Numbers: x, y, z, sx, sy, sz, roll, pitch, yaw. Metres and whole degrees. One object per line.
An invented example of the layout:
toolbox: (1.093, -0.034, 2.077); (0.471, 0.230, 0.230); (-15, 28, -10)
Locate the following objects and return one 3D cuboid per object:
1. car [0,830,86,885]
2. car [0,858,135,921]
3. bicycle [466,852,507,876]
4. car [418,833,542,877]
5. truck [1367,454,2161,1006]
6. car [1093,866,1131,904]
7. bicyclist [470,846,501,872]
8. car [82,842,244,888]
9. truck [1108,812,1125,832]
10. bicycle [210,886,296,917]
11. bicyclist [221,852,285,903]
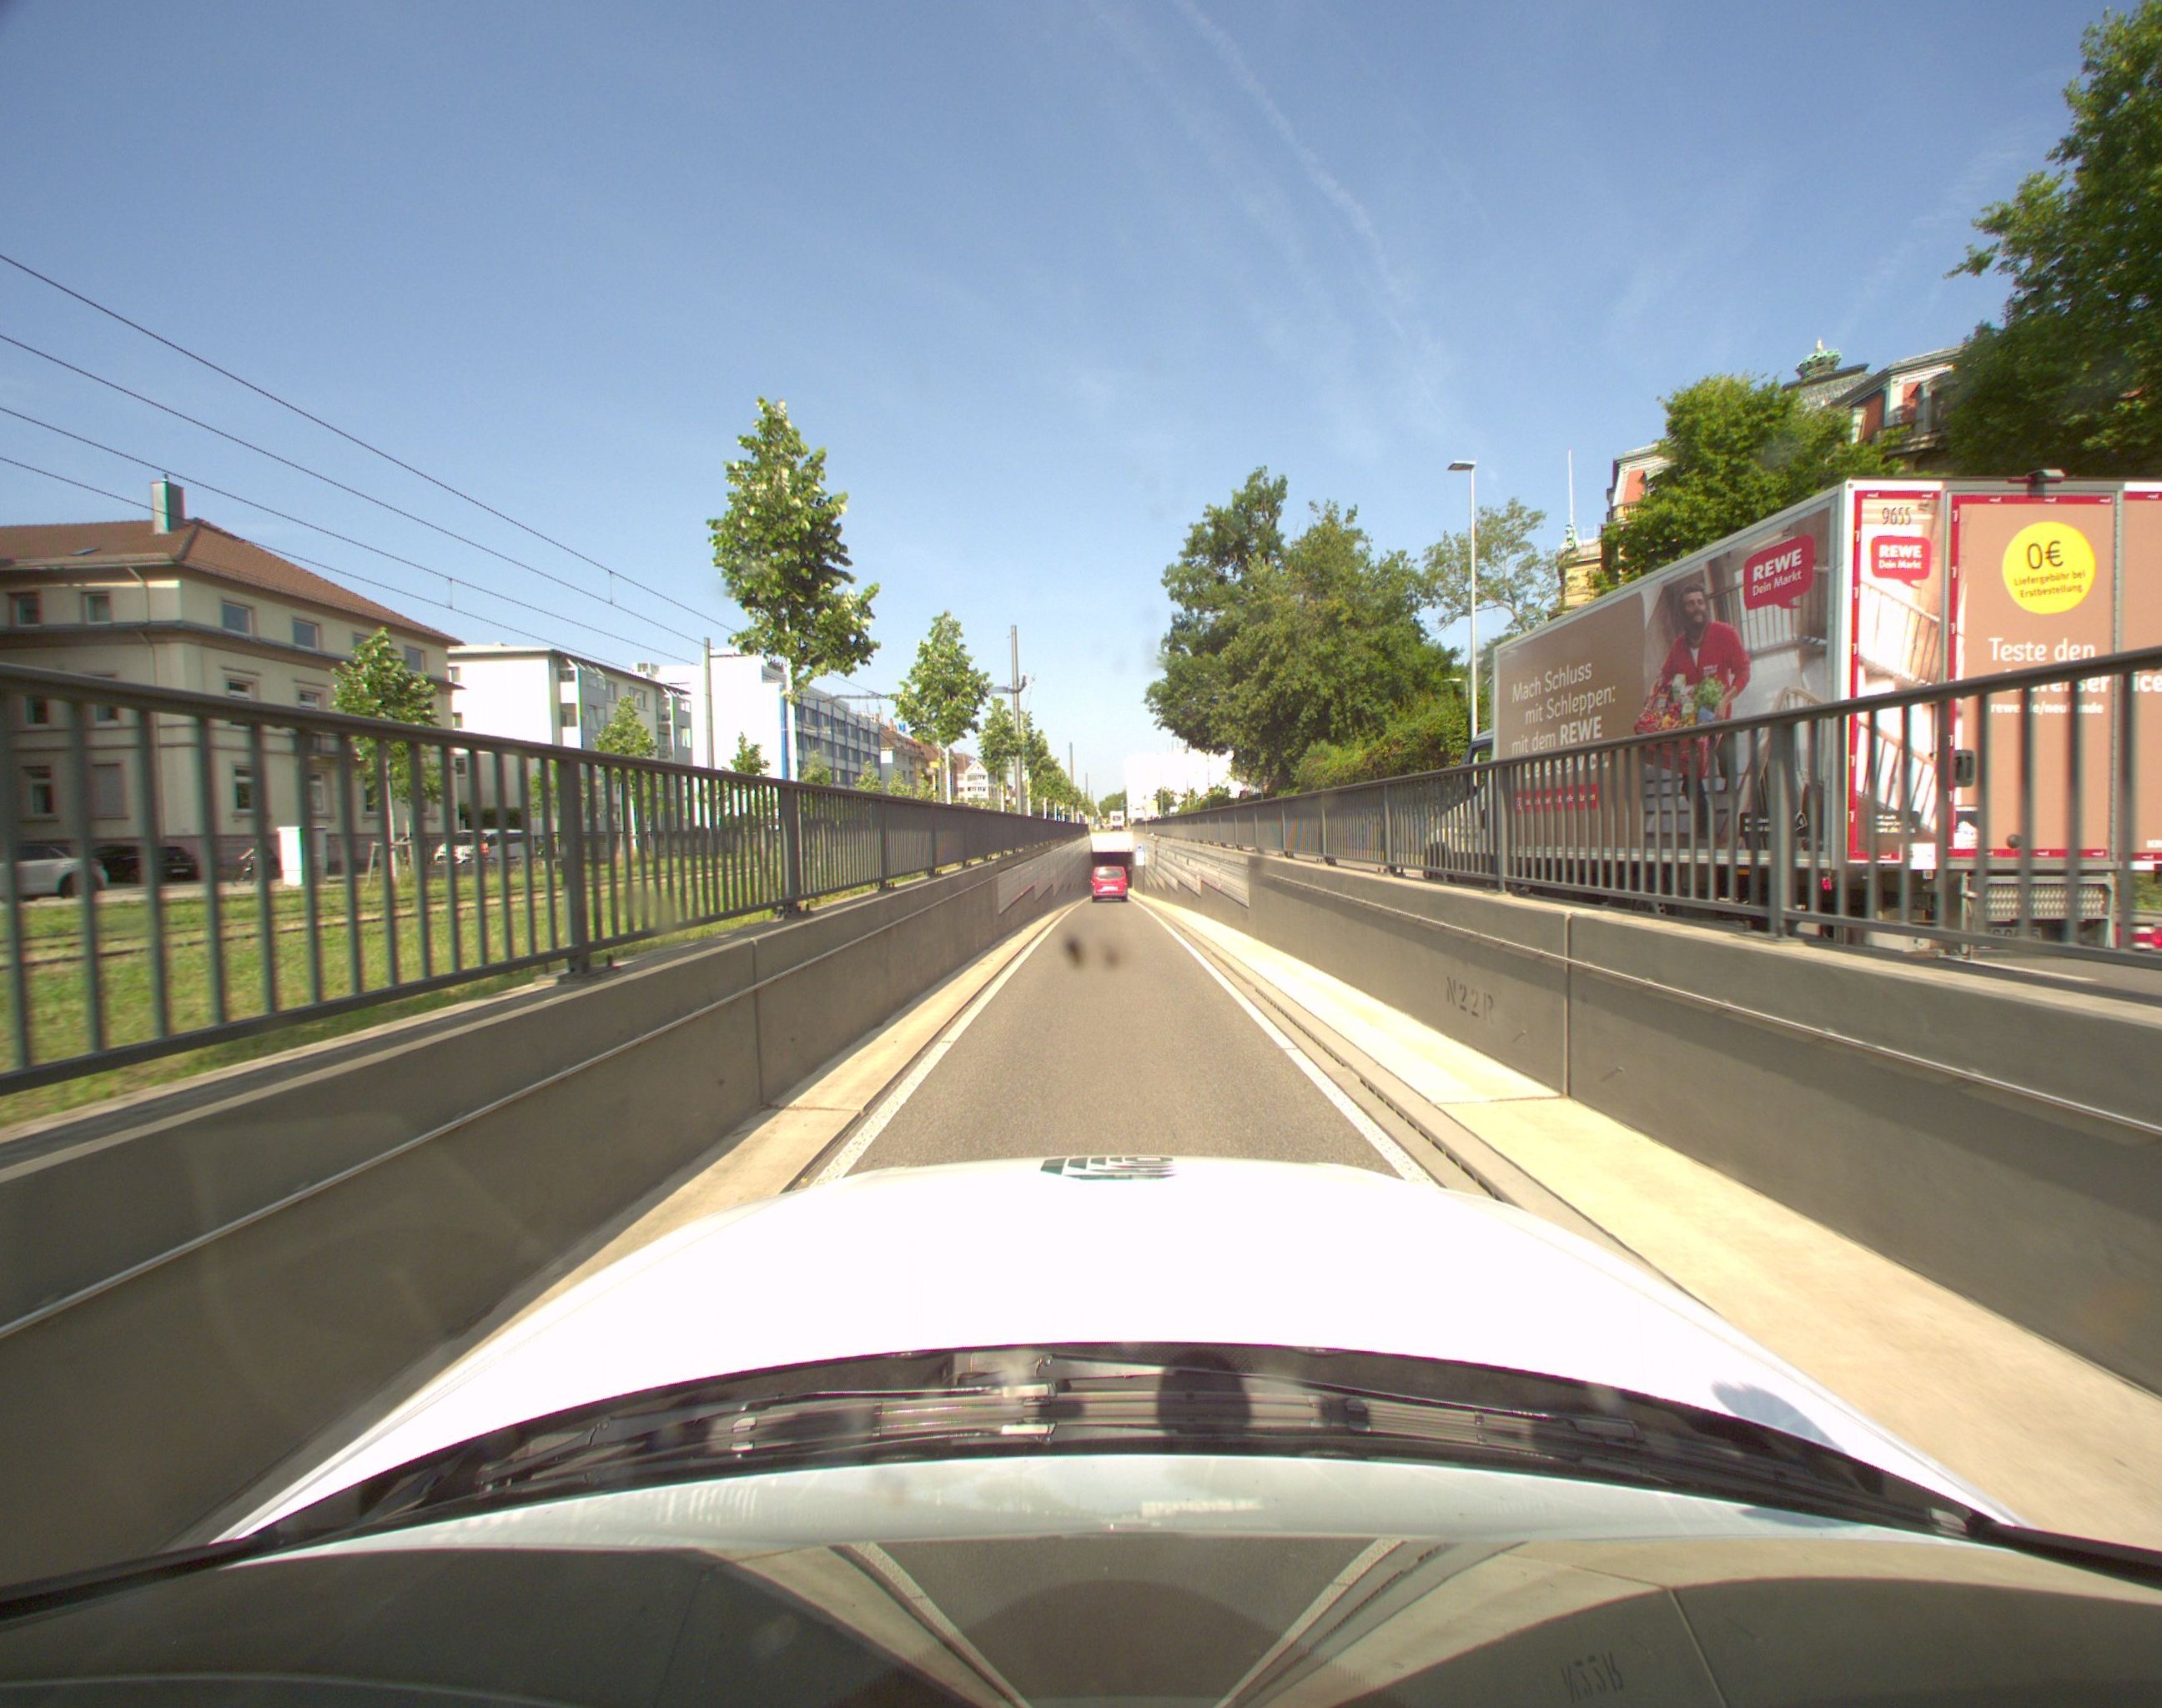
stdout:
car: (-40.930, 0.097, 31.102); (3.906, 2.014, 1.602); (1, 0, 2)
car: (-26.287, 0.853, 19.504); (1.985, 1.467, 4.441); (-1, 0, 3)
bicycle: (-28.231, 0.472, 38.722); (0.530, 1.093, 1.875); (1, -1, 0)
car: (-30.145, 0.045, 41.095); (2.241, 2.013, 5.264); (1, 0, 1)
truck: (5.559, -0.762, 8.472); (2.493, 3.060, 7.822); (1, 1, 1)
car: (1.642, 1.594, 43.316); (1.894, 1.859, 4.001); (1, 0, 2)
bicyclist: (-28.227, 0.227, 38.628); (0.530, 1.178, 1.251); (1, 0, 0)
car: (-34.302, 0.380, 30.504); (3.976, 1.552, 1.653); (-2, 1, -2)
truck: (7.117, -6.428, 164.185); (3.378, 3.725, 10.457); (-1, 1, 2)
bicycle: (-28.804, 1.644, 28.377); (0.658, 0.926, 2.148); (4, -1, 3)
bicyclist: (-28.744, 0.808, 28.303); (0.471, 1.693, 1.516); (3, -1, 3)
